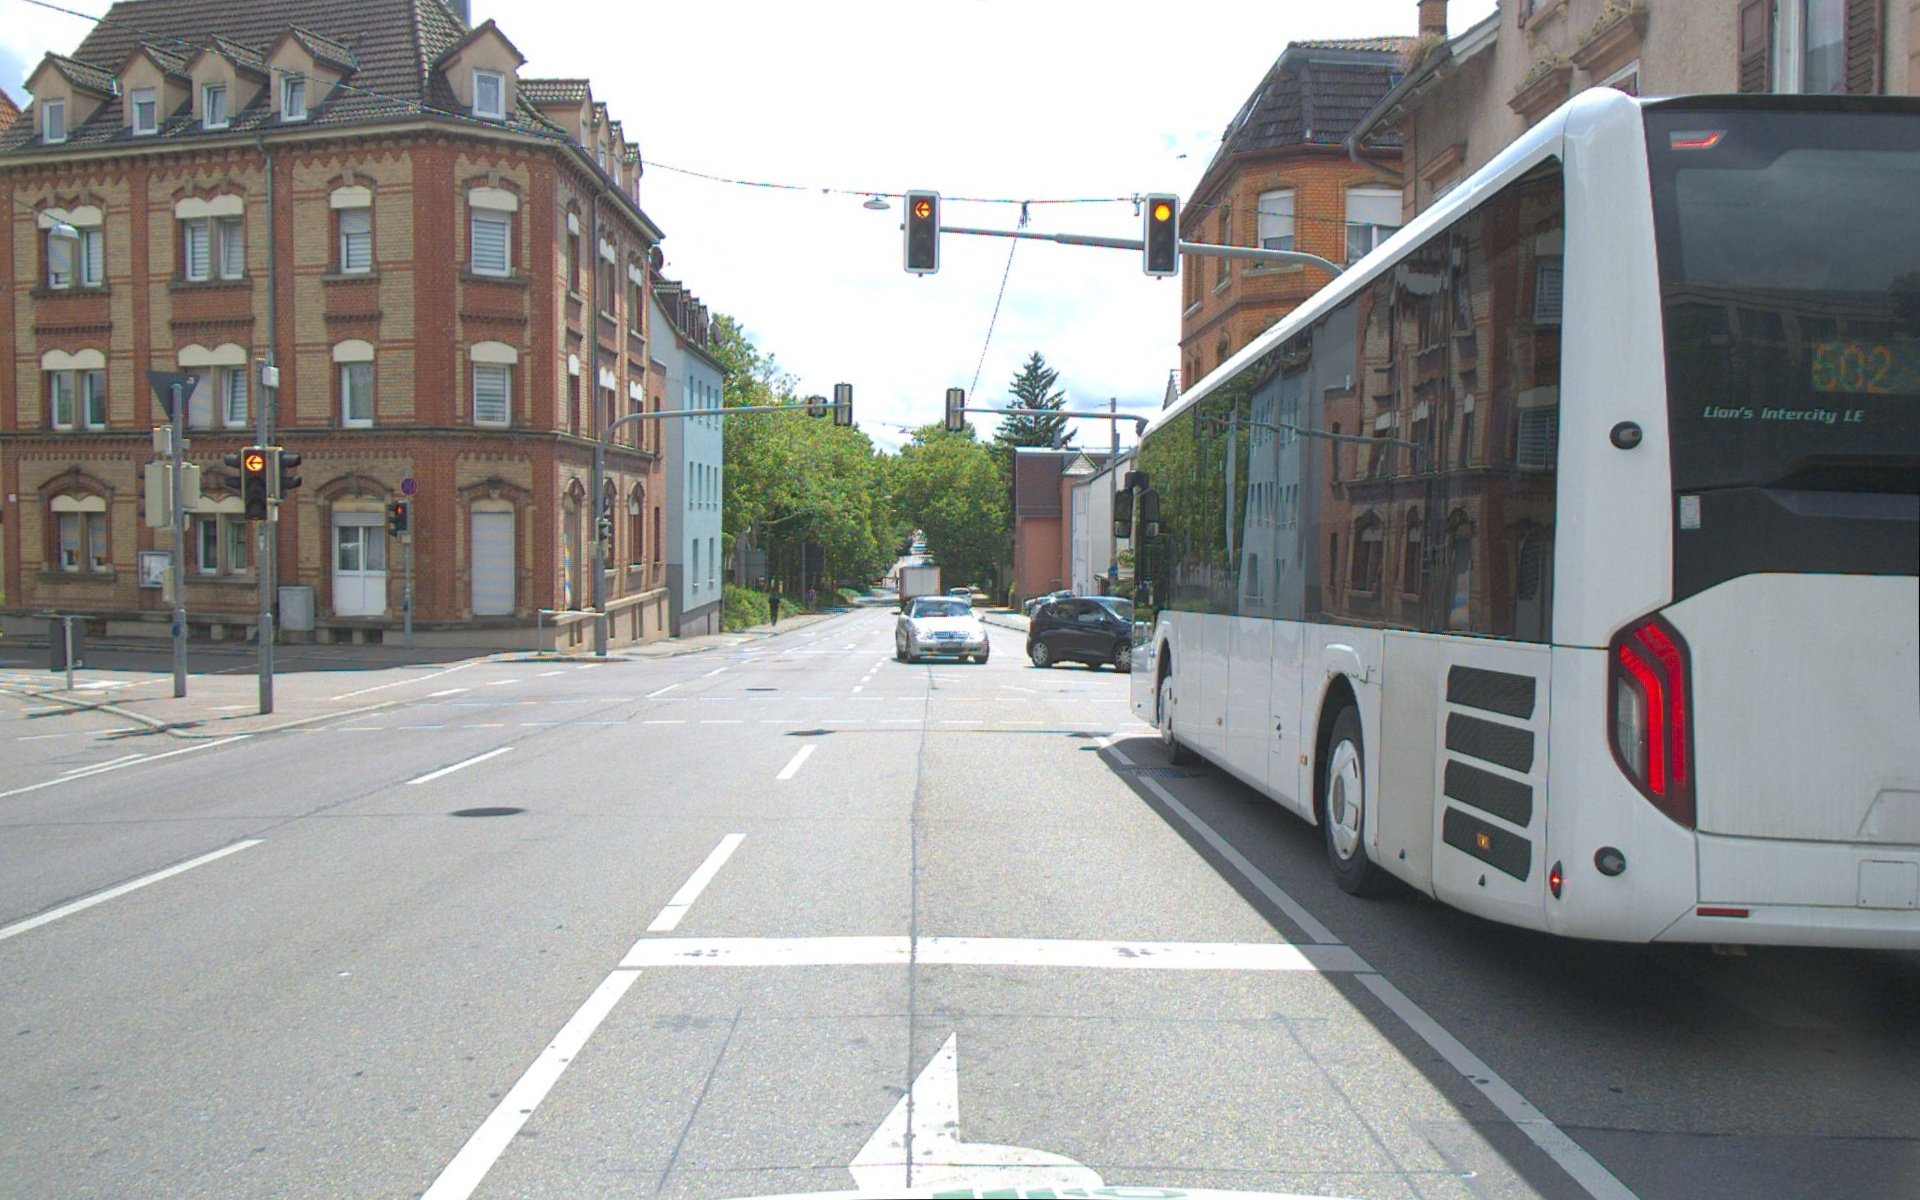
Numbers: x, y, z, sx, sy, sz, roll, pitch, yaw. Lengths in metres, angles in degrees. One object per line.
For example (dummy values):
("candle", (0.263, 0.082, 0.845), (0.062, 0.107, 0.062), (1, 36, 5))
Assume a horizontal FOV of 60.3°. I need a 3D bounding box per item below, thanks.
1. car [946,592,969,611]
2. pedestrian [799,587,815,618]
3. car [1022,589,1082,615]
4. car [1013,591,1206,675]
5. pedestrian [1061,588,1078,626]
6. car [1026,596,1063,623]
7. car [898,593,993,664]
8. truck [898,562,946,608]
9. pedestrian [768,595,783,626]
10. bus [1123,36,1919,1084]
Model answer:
("car", (-0.198, 0.095, 131.119), (1.758, 1.434, 3.999), (1, 0, -1))
("pedestrian", (-10.244, 0.164, 111.043), (0.974, 2.049, 1.188), (0, 0, -1))
("car", (6.395, 0.122, 115.300), (3.909, 1.788, 1.998), (-1, 0, -6))
("car", (2.932, 0.601, 32.960), (1.747, 1.543, 3.740), (-1, 1, -39))
("pedestrian", (5.153, 0.328, 77.565), (0.723, 1.781, 0.619), (-1, 0, -1))
("car", (4.832, 0.547, 95.174), (1.758, 1.434, 3.999), (-1, 1, -2))
("car", (-0.366, 0.585, 36.288), (1.666, 1.452, 3.994), (-1, 0, -7))
("truck", (-2.779, -1.081, 118.598), (2.869, 3.135, 7.877), (-1, 1, -5))
("pedestrian", (-9.380, 0.527, 84.200), (0.714, 1.592, 0.560), (0, 0, -2))
("bus", (3.127, -0.184, 11.328), (2.618, 3.211, 12.460), (-1, 0, -1))
